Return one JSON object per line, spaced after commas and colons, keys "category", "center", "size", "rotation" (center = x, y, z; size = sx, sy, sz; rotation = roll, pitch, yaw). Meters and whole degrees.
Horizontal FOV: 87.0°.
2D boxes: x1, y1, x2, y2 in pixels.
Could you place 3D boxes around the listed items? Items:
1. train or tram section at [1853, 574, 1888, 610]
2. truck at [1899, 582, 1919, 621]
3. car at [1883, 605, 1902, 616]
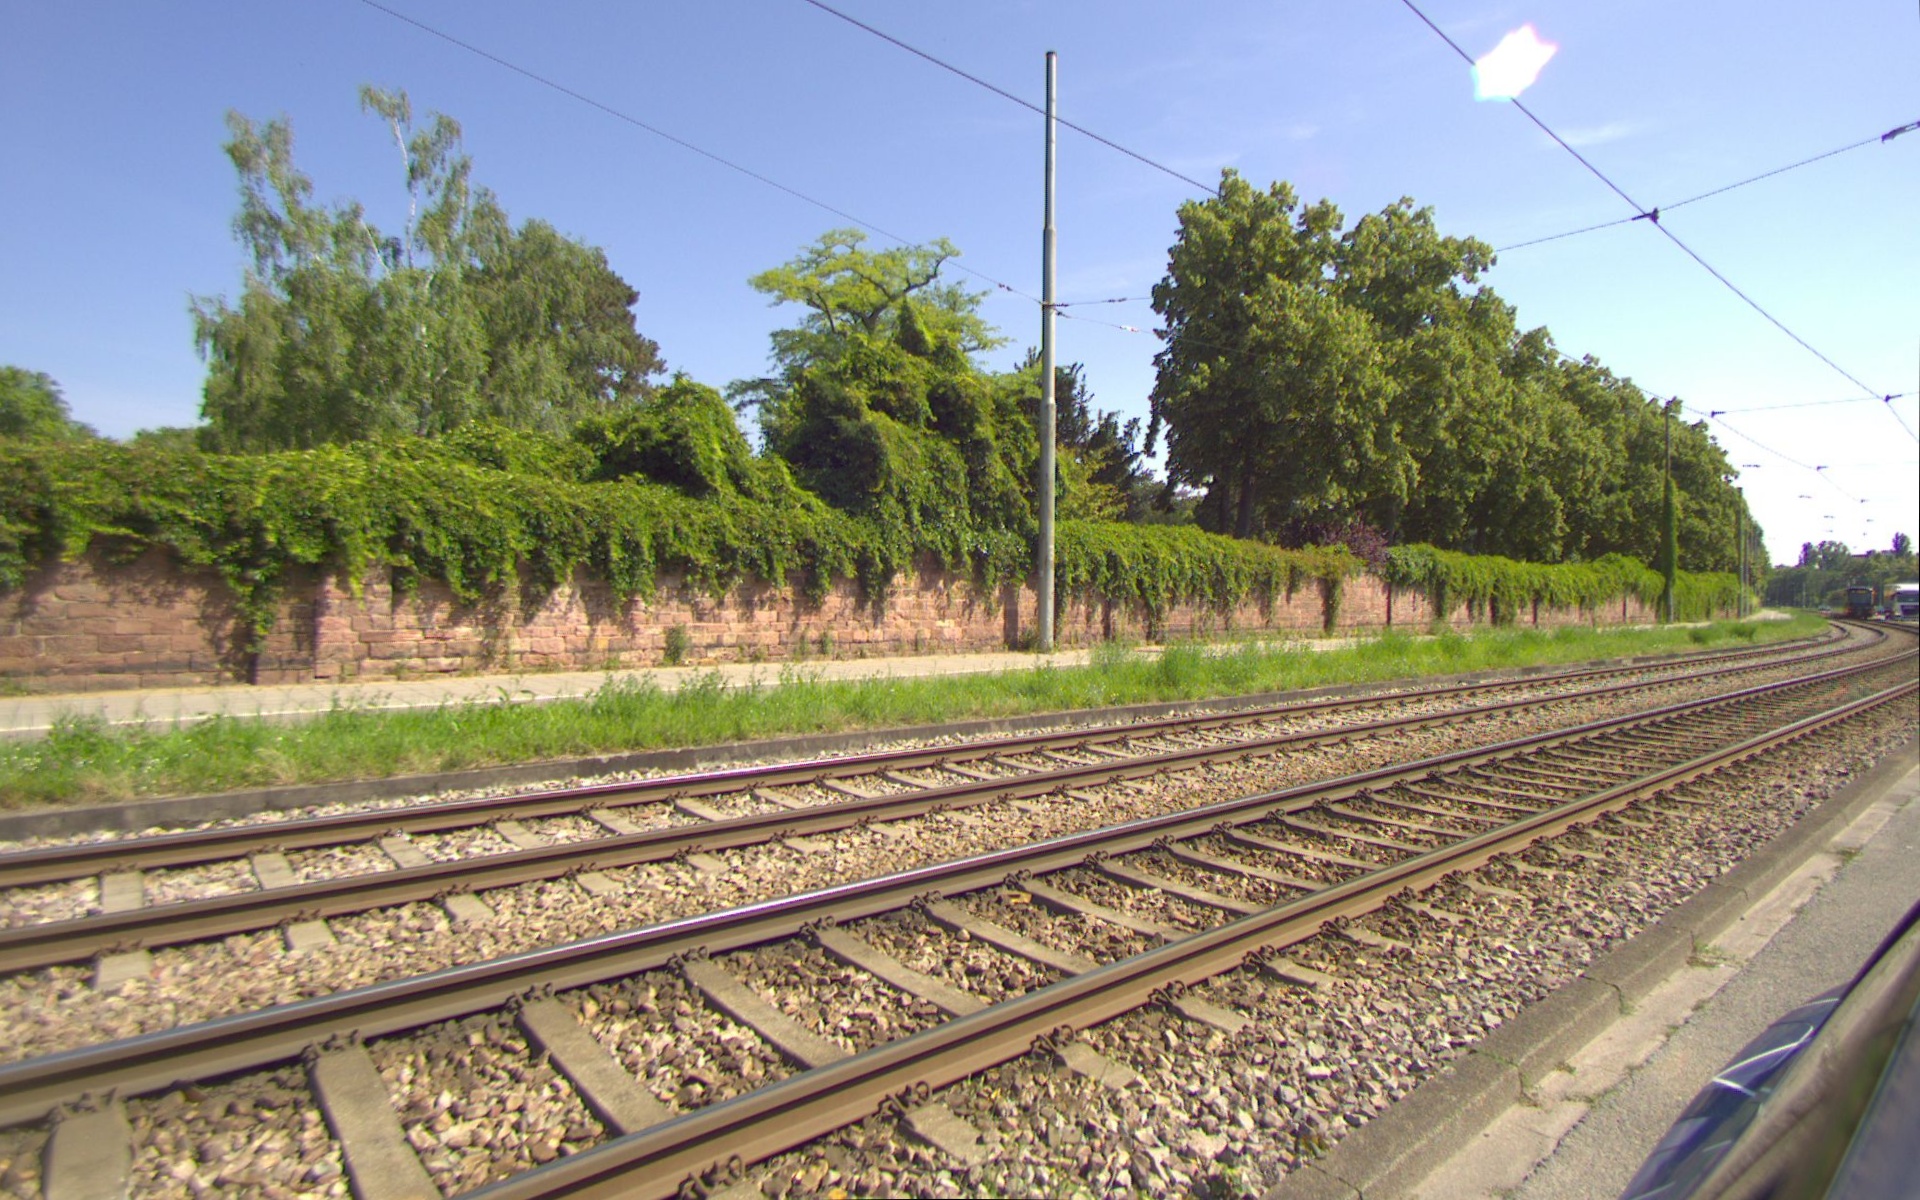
{"category": "train or tram section", "center": [102.758, -0.798, 114.109], "size": [2.712, 3.785, 18.586], "rotation": [-1, 0, 43]}
{"category": "truck", "center": [102.956, 0.168, 108.816], "size": [2.797, 3.999, 11.759], "rotation": [1, 1, 43]}
{"category": "car", "center": [147.027, 1.624, 159.542], "size": [1.845, 1.739, 3.944], "rotation": [-2, -1, 39]}
